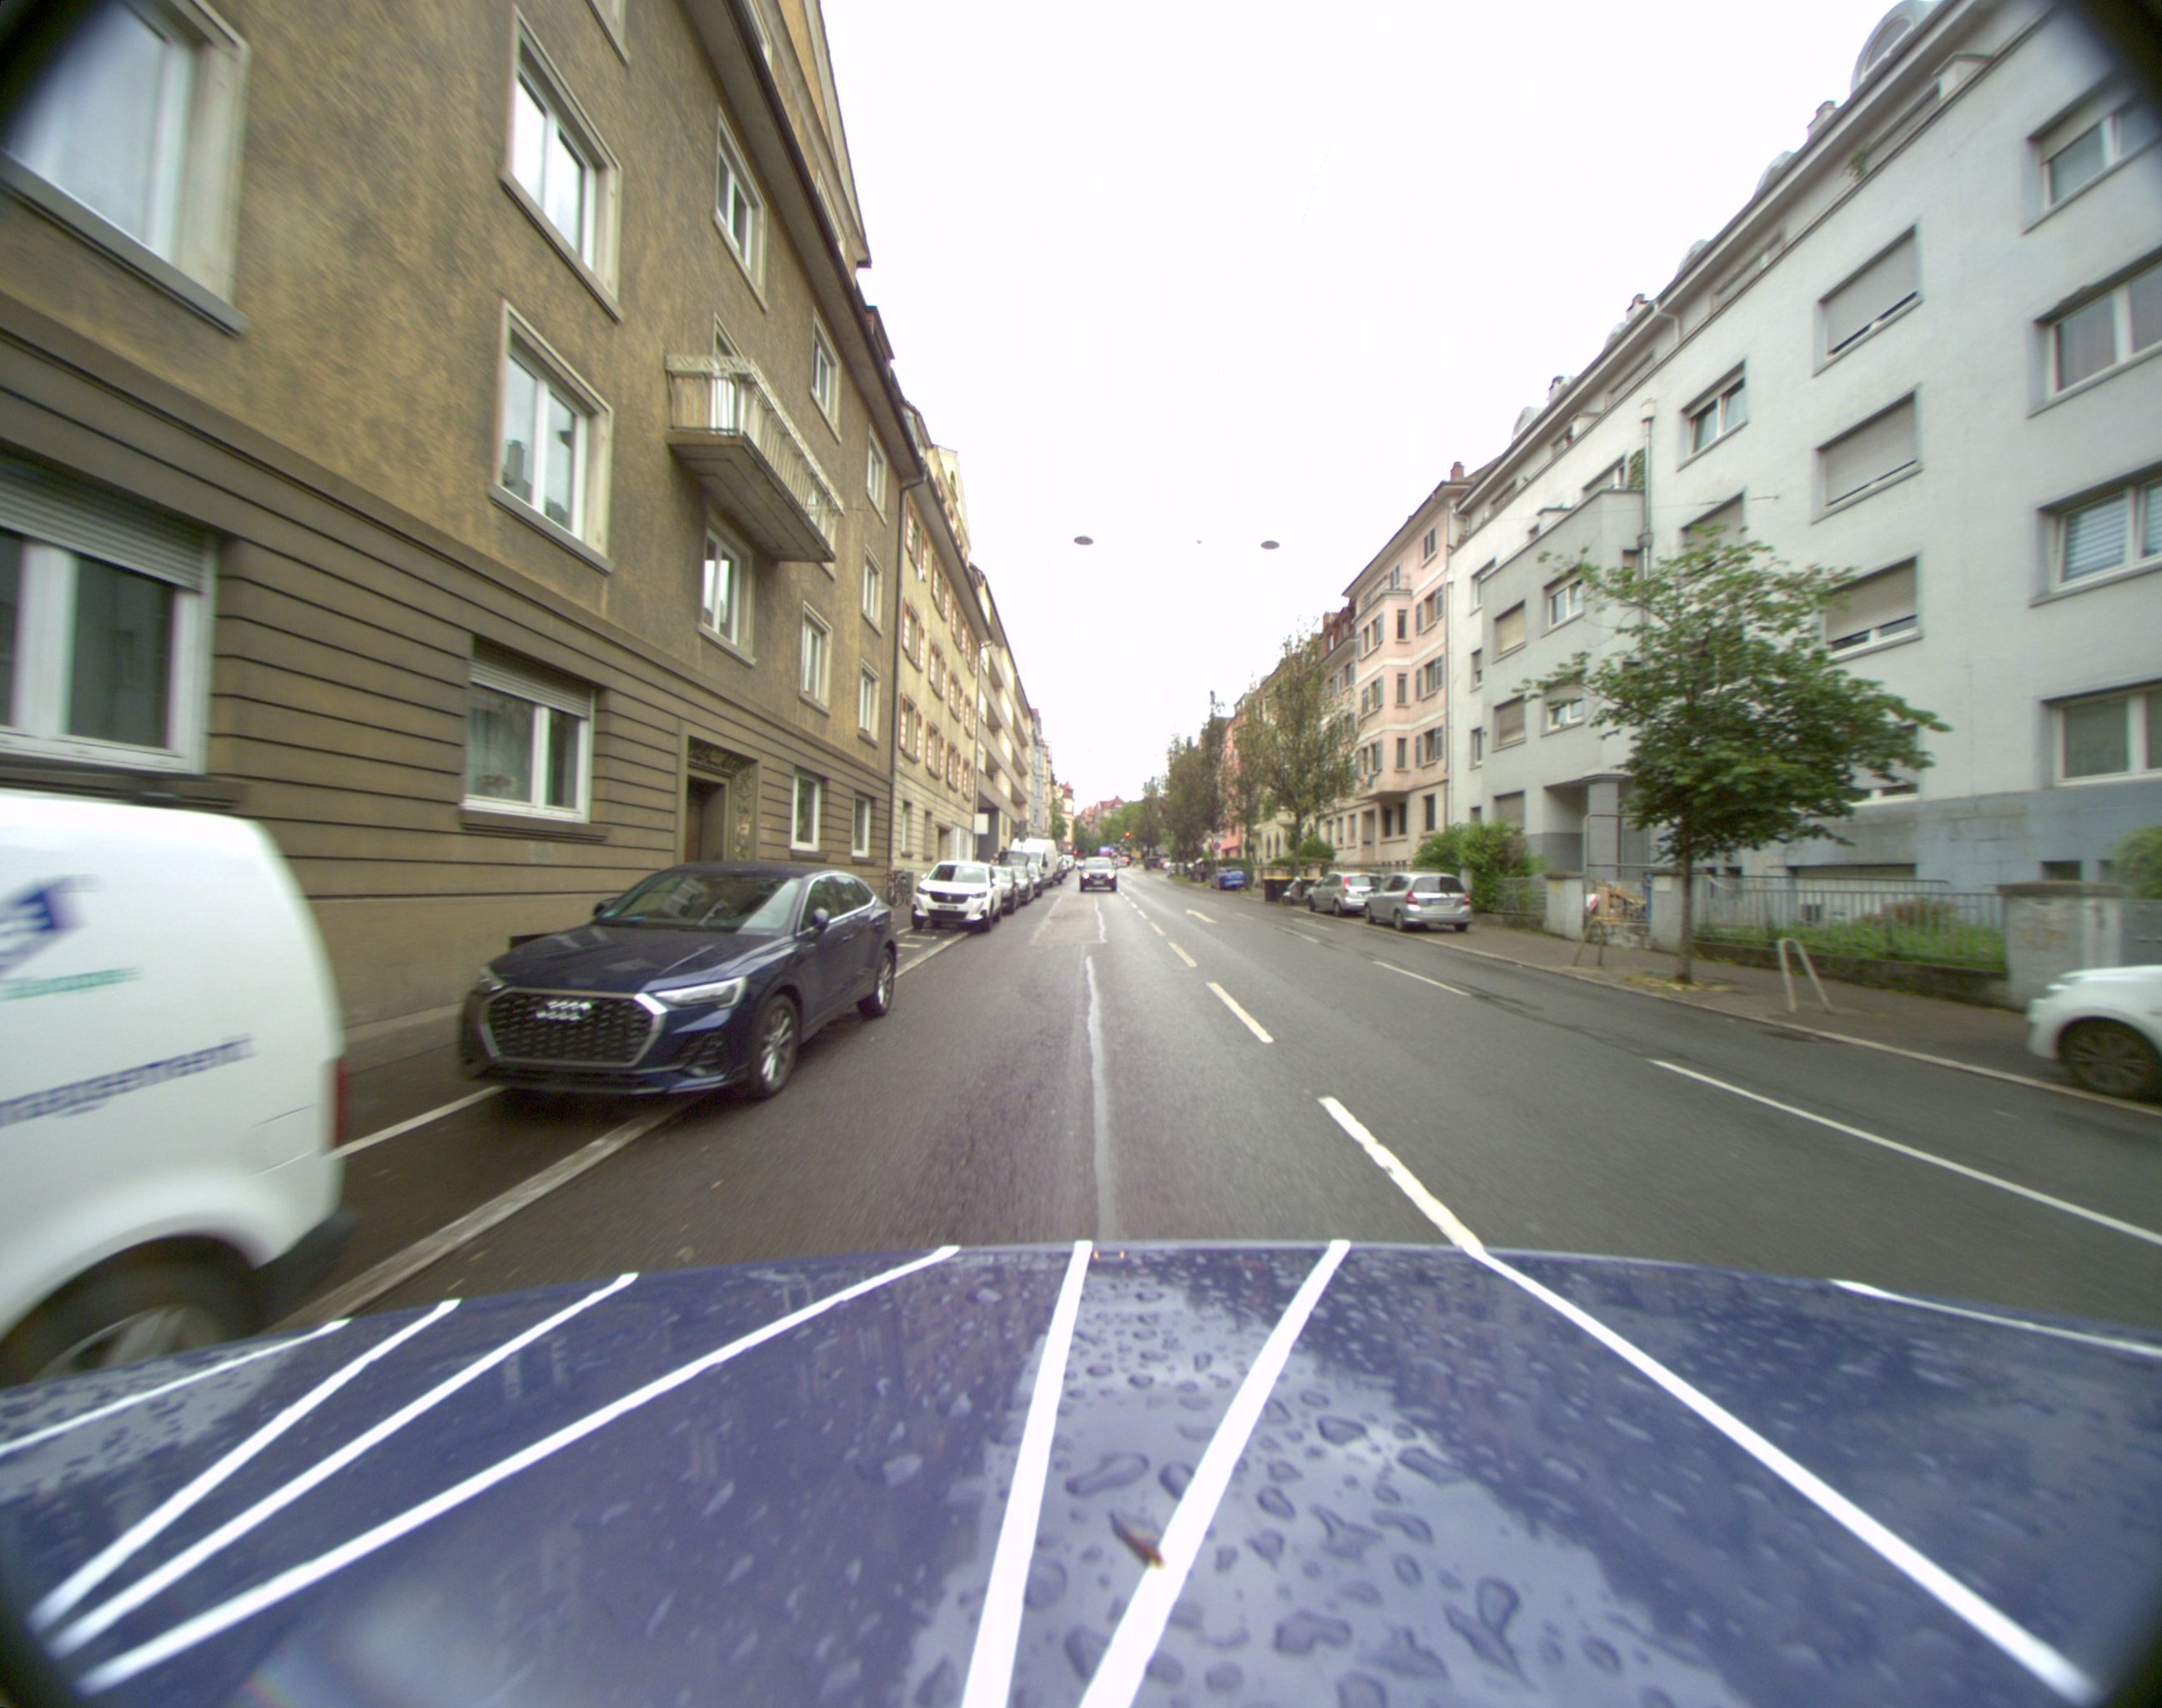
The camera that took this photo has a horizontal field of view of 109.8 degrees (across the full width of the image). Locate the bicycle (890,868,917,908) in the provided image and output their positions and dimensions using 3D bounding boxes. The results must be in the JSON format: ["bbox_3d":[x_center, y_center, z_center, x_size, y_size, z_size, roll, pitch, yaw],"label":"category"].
[{"bbox_3d":[-5.311,1.004,22.843,0.248,1.067,2.106,3,1,1],"label":"bicycle"}]

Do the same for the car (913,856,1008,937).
[{"bbox_3d":[-2.794,0.921,18.494,1.636,1.629,4.194,4,0,-1],"label":"car"}]

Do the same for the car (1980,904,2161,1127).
[{"bbox_3d":[8.418,1.169,4.505,1.650,1.499,3.796,0,0,-1],"label":"car"}]

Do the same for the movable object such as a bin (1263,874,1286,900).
[{"bbox_3d":[8.335,1.433,32.737,0.827,1.052,0.483,-2,1,2],"label":"movable object such as a bin"}]

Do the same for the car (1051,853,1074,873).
[{"bbox_3d":[-1.557,0.725,65.160,1.751,1.630,4.273,2,0,0],"label":"car"}]

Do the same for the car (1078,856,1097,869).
[{"bbox_3d":[0.786,1.074,93.678,1.671,1.463,3.649,-1,1,-11],"label":"car"}]

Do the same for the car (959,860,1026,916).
[{"bbox_3d":[-2.687,0.990,23.822,1.636,1.470,3.734,4,0,-1],"label":"car"}]

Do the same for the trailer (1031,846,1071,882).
[{"bbox_3d":[-1.878,0.642,49.389,1.998,2.139,5.074,3,-1,3],"label":"trailer"}]

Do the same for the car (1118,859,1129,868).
[{"bbox_3d":[7.551,1.717,134.714,1.772,1.540,3.652,0,1,0],"label":"car"}]

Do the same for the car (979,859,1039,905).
[{"bbox_3d":[-2.614,0.999,28.521,1.782,1.471,4.587,1,1,0],"label":"car"}]

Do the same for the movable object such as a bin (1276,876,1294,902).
[{"bbox_3d":[8.447,1.448,31.429,0.526,1.052,0.482,-3,1,-21],"label":"movable object such as a bin"}]

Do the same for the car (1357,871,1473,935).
[{"bbox_3d":[8.756,1.227,20.249,1.604,1.442,3.889,-1,0,4],"label":"car"}]

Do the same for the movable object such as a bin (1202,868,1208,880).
[{"bbox_3d":[9.602,1.535,58.773,0.365,0.906,0.572,-1,1,0],"label":"movable object such as a bin"}]

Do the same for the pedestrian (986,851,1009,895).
[{"bbox_3d":[-3.437,0.773,31.185,0.688,1.777,0.712,2,2,-25],"label":"pedestrian"}]

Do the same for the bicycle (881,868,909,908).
[{"bbox_3d":[-5.561,0.993,22.820,0.248,1.067,2.106,3,1,1],"label":"bicycle"}]

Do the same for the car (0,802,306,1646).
[{"bbox_3d":[-3.185,0.756,0.167,1.795,1.807,4.080,2,0,0],"label":"car"}]

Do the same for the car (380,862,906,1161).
[{"bbox_3d":[-2.887,0.881,6.272,1.795,1.539,4.226,2,0,1],"label":"car"}]

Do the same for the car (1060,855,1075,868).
[{"bbox_3d":[-1.684,0.888,93.920,1.709,1.434,3.933,2,0,1],"label":"car"}]

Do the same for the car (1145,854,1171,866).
[{"bbox_3d":[12.627,0.919,124.529,3.929,1.836,1.867,1,1,-2],"label":"car"}]

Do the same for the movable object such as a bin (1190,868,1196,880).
[{"bbox_3d":[8.676,1.551,58.717,0.365,0.884,0.572,-1,0,0],"label":"movable object such as a bin"}]

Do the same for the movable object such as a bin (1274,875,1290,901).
[{"bbox_3d":[8.496,1.449,32.157,0.472,1.052,0.483,-2,1,-8],"label":"movable object such as a bin"}]

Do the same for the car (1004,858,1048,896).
[{"bbox_3d":[-2.385,0.987,33.858,1.782,1.471,4.188,1,1,-2],"label":"car"}]

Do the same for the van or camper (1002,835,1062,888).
[{"bbox_3d":[-2.604,0.400,42.133,2.189,2.683,6.422,1,0,6],"label":"van or camper"}]

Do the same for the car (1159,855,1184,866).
[{"bbox_3d":[14.563,1.028,122.202,3.928,1.613,1.592,1,1,1],"label":"car"}]

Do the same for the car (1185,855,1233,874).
[{"bbox_3d":[13.520,1.107,80.499,4.731,1.894,1.918,0,1,-1],"label":"car"}]

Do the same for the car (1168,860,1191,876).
[{"bbox_3d":[9.654,1.327,74.843,1.685,1.409,4.137,2,0,1],"label":"car"}]

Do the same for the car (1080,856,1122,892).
[{"bbox_3d":[0.937,0.962,37.744,1.890,1.543,3.999,-2,1,-1],"label":"car"}]

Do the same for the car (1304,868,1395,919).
[{"bbox_3d":[8.740,1.241,25.089,1.605,1.388,3.886,0,1,0],"label":"car"}]

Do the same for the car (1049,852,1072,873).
[{"bbox_3d":[-1.958,0.785,73.344,1.994,1.944,4.822,2,0,0],"label":"car"}]

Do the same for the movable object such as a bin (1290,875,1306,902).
[{"bbox_3d":[9.032,1.437,31.626,0.472,1.052,0.483,-2,1,-8],"label":"movable object such as a bin"}]

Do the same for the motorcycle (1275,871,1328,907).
[{"bbox_3d":[8.572,1.340,29.523,1.806,1.307,0.743,1,0,42],"label":"motorcycle"}]

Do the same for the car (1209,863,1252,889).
[{"bbox_3d":[9.018,1.288,46.144,1.683,1.377,4.603,2,0,0],"label":"car"}]

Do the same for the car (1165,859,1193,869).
[{"bbox_3d":[14.321,1.421,111.374,3.928,1.289,1.646,1,1,1],"label":"car"}]
